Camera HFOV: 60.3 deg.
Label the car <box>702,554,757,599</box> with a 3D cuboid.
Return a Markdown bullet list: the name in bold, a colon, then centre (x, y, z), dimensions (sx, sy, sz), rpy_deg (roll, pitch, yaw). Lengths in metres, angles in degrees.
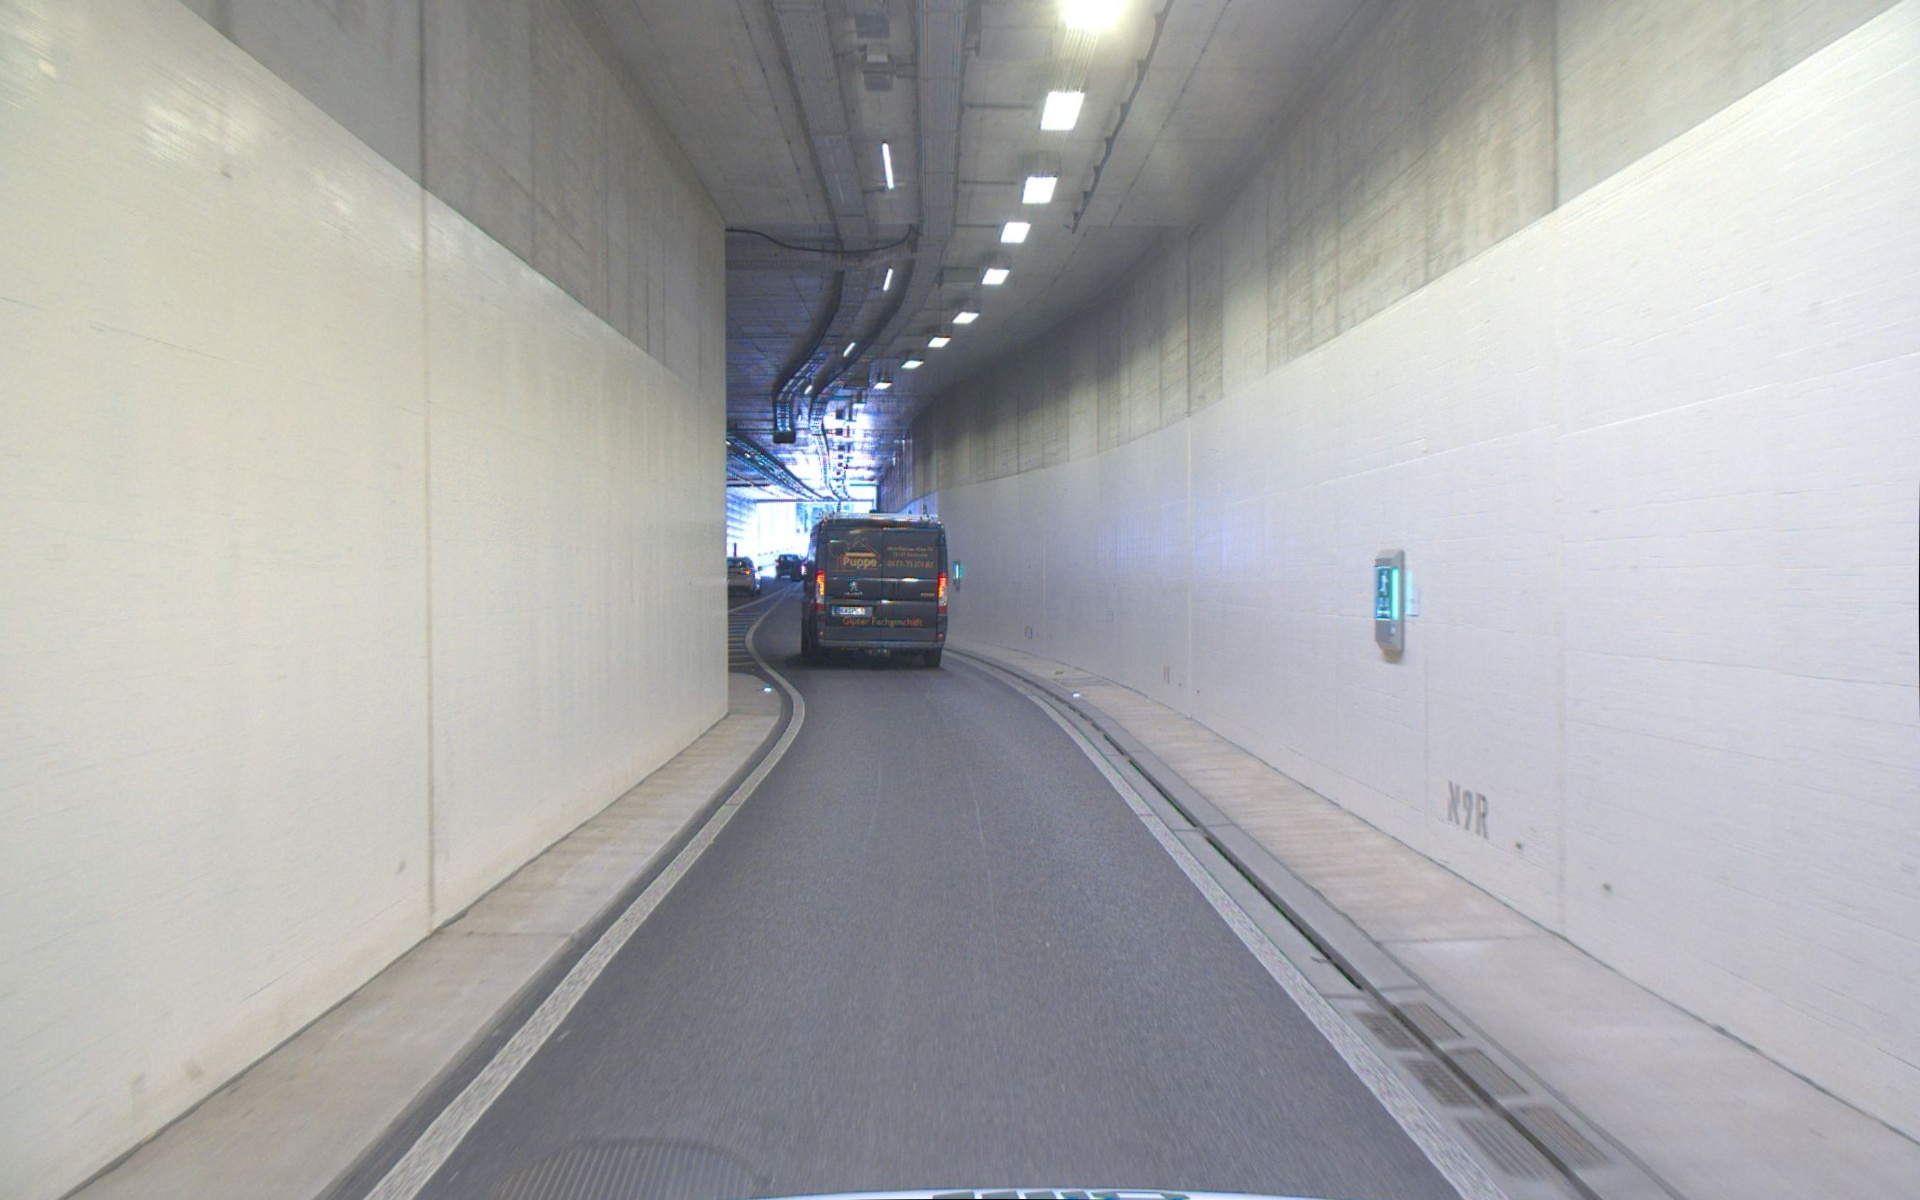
- **car**: centre (-8.650, -0.879, 62.354), dimensions (1.840, 1.609, 4.216), rpy_deg (1, 0, -5)

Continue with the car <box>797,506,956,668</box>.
- **car**: centre (-1.429, -0.246, 26.165), dimensions (2.118, 2.305, 4.629), rpy_deg (1, 1, -8)

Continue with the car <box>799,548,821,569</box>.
- **car**: centre (-13.162, -3.628, 144.839), dimensions (1.840, 1.653, 4.216), rpy_deg (1, 0, -5)

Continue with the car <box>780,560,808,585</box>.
- **car**: centre (-11.577, -1.890, 115.575), dimensions (1.840, 1.653, 4.216), rpy_deg (1, 0, -5)

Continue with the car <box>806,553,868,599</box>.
- **car**: centre (-4.272, -0.860, 58.216), dimensions (2.043, 1.540, 4.635), rpy_deg (0, 1, -3)

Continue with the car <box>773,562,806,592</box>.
- **car**: centre (-10.000, -1.334, 97.432), dimensions (1.840, 1.653, 4.216), rpy_deg (1, 0, -5)
